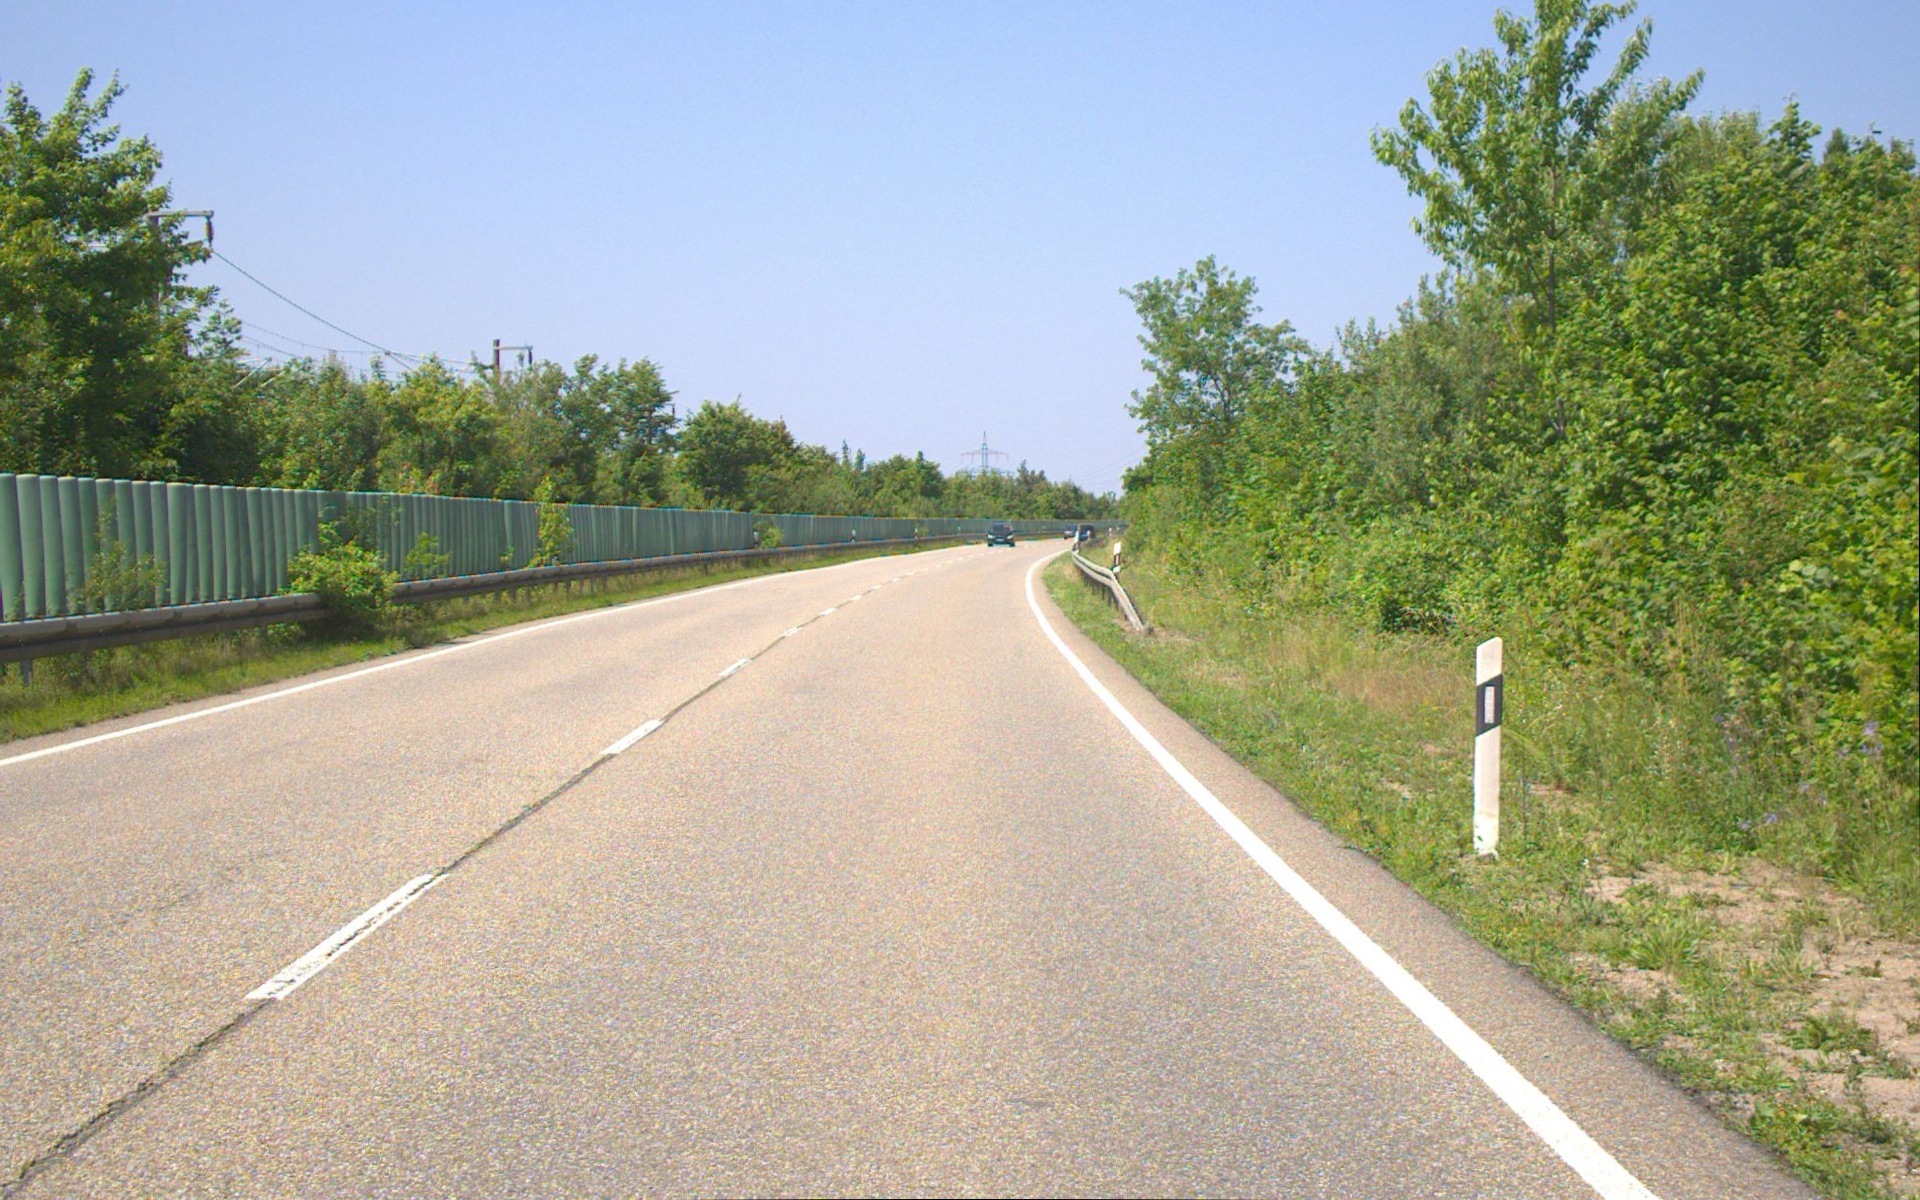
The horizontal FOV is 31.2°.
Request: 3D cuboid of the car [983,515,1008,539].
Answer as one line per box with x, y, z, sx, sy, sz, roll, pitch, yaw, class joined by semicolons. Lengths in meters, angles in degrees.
2.523;-5.147;243.088;1.764;1.634;4.126;1;1;1;car
